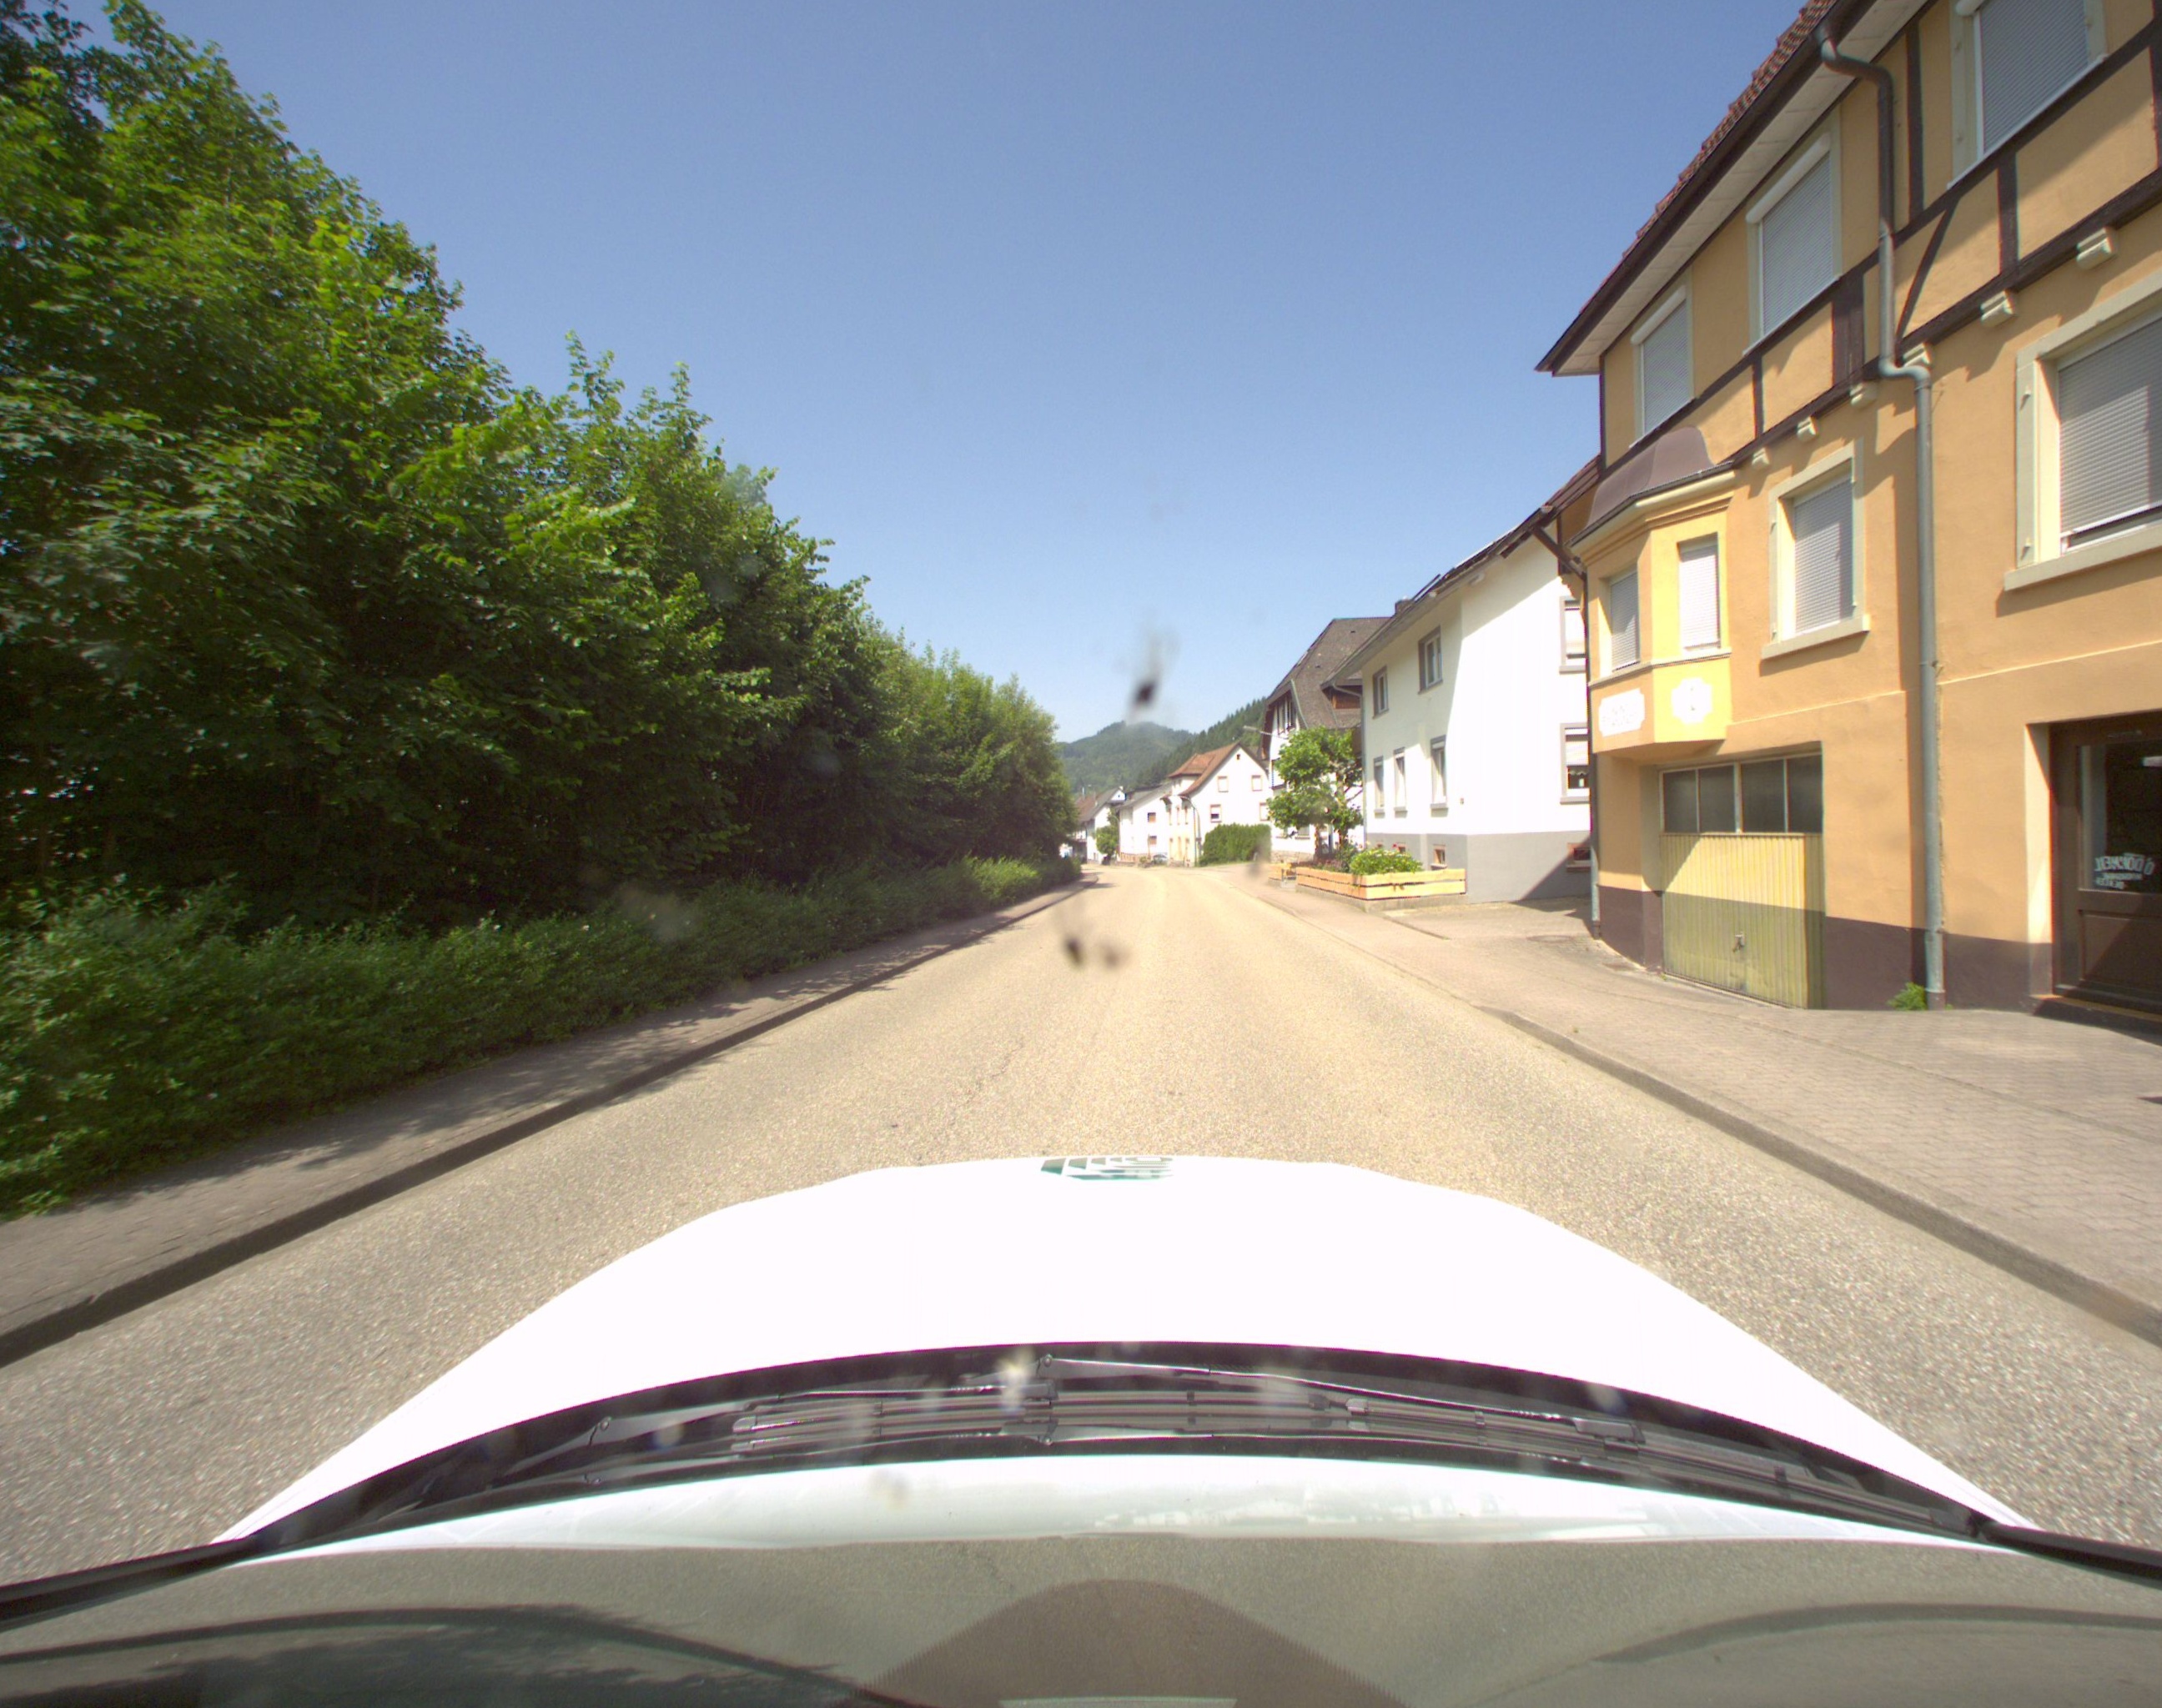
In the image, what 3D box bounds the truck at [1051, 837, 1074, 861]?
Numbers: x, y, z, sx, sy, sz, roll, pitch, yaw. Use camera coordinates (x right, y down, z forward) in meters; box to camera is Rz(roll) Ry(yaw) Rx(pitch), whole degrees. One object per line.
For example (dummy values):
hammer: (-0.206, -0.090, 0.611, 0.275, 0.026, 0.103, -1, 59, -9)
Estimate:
truck: (-3.479, -0.850, 149.362, 3.359, 3.781, 8.422, -6, -1, -6)
